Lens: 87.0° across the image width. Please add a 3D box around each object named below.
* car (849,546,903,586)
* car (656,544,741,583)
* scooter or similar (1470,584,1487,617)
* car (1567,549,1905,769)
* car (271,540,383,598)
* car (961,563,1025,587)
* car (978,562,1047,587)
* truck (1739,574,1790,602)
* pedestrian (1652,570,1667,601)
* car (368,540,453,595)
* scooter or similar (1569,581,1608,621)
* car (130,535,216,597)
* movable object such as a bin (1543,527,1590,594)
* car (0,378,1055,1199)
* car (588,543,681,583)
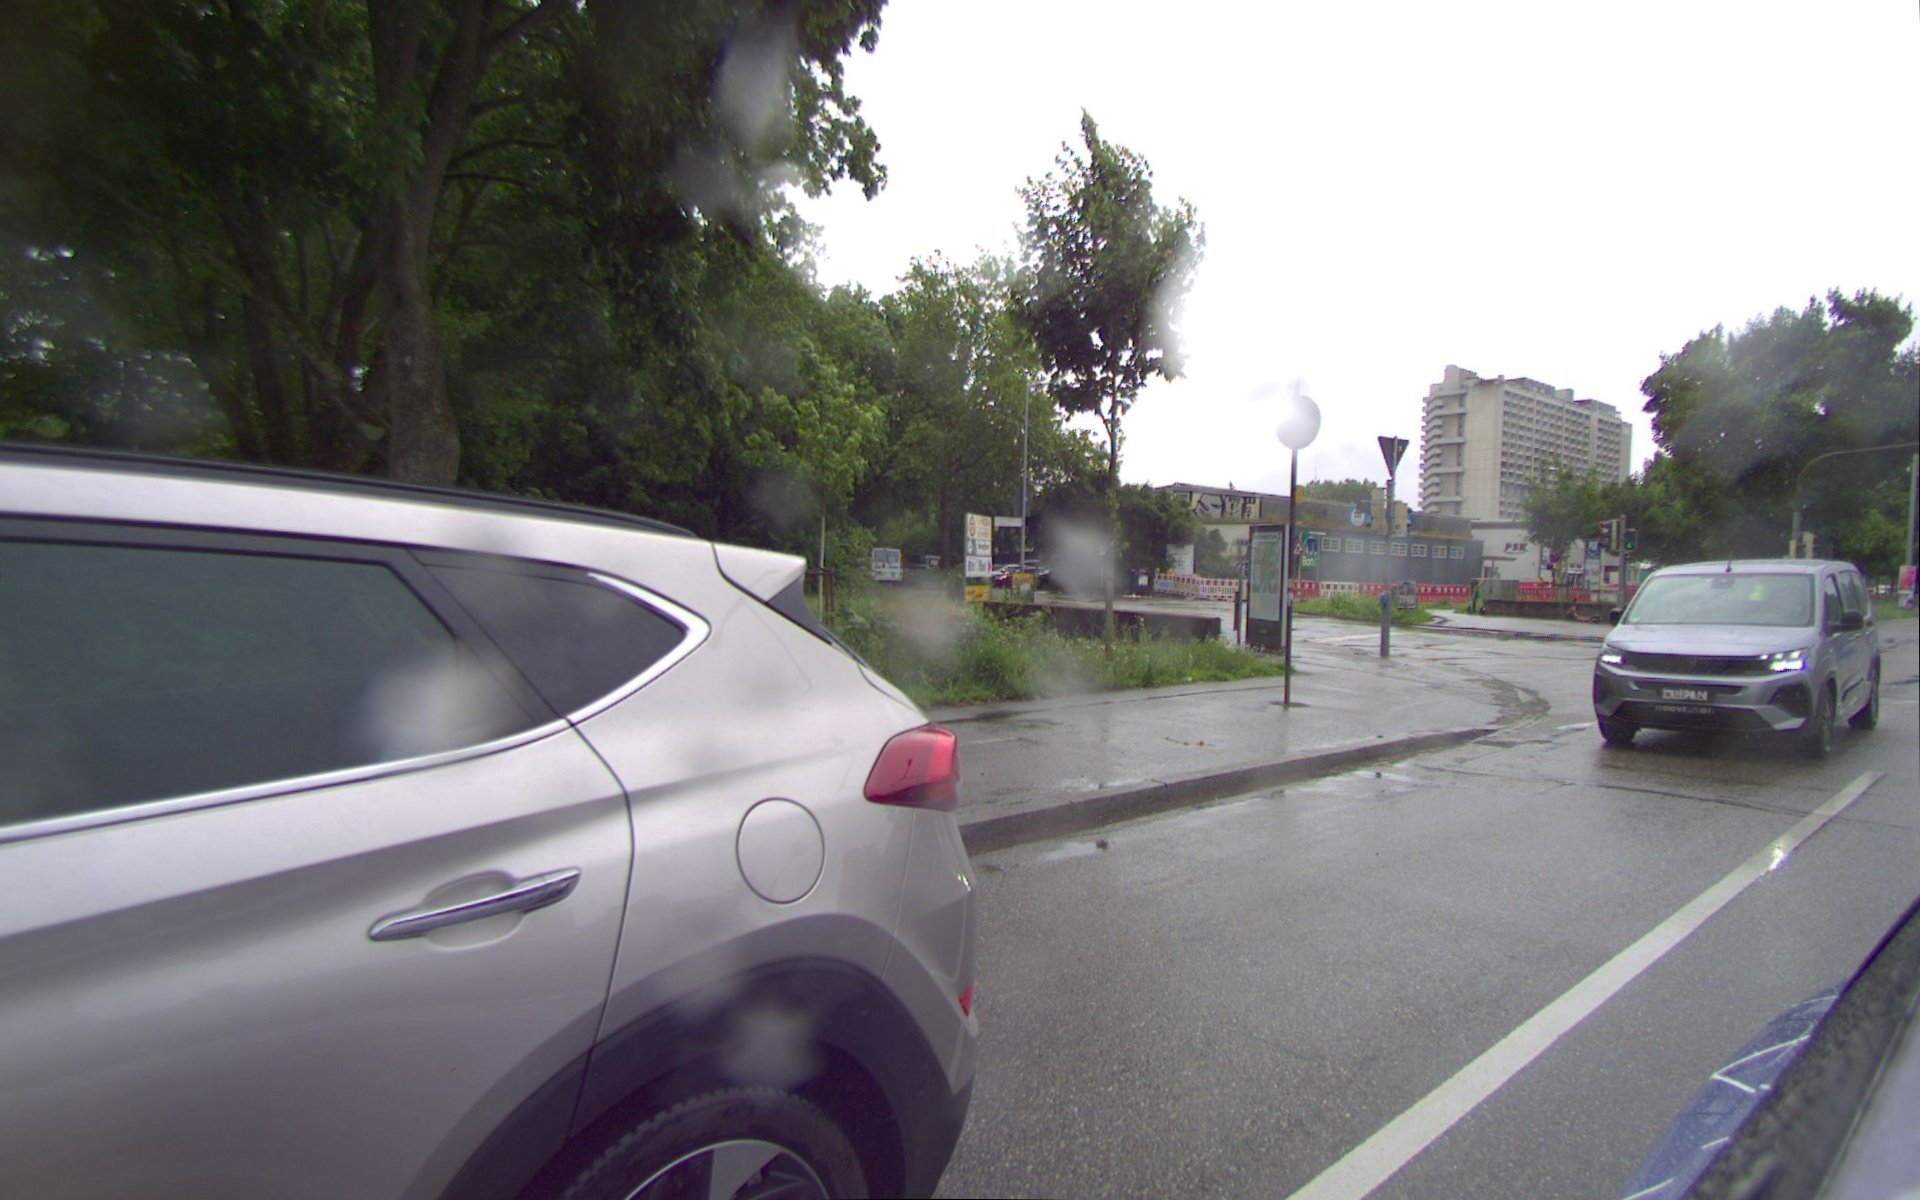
[{"bbox_3d":[-4.529,-1.771,53.751,1.885,1.989,4.204,-1,1,-19],"label":"car"},{"bbox_3d":[-11.629,-1.576,44.785,1.892,1.651,4.595,-1,1,-40],"label":"car"},{"bbox_3d":[18.820,0.013,36.734,0.549,1.191,0.286,0,2,-33],"label":"scooter or similar"},{"bbox_3d":[8.264,0.444,10.616,4.483,1.818,1.997,-1,1,-41],"label":"car"},{"bbox_3d":[-17.679,-0.823,28.136,2.128,1.467,5.413,-1,1,-38],"label":"car"},{"bbox_3d":[2.181,-1.661,67.267,3.916,1.529,1.706,-1,1,-14],"label":"car"},{"bbox_3d":[3.272,-1.599,63.271,3.916,1.529,1.706,-1,1,-14],"label":"car"},{"bbox_3d":[88.347,-1.379,111.097,8.597,2.935,2.809,-1,1,-41],"label":"truck"},{"bbox_3d":[44.186,-0.927,63.957,0.861,1.920,0.580,-1,0,-40],"label":"pedestrian"},{"bbox_3d":[-16.563,-0.941,30.436,1.847,1.544,4.001,-1,1,-34],"label":"car"},{"bbox_3d":[20.749,0.033,33.416,0.316,1.244,0.961,0,5,-35],"label":"scooter or similar"},{"bbox_3d":[-20.135,-0.837,25.907,1.640,1.467,3.718,-1,1,-38],"label":"car"},{"bbox_3d":[41.911,-2.712,69.863,3.838,4.481,1.557,-1,1,-39],"label":"movable object such as a bin"},{"bbox_3d":[-1.973,0.565,1.434,4.122,1.630,1.887,0,1,-41],"label":"car"},{"bbox_3d":[-14.047,-1.542,43.565,4.586,1.603,1.896,1,1,44],"label":"car"}]
